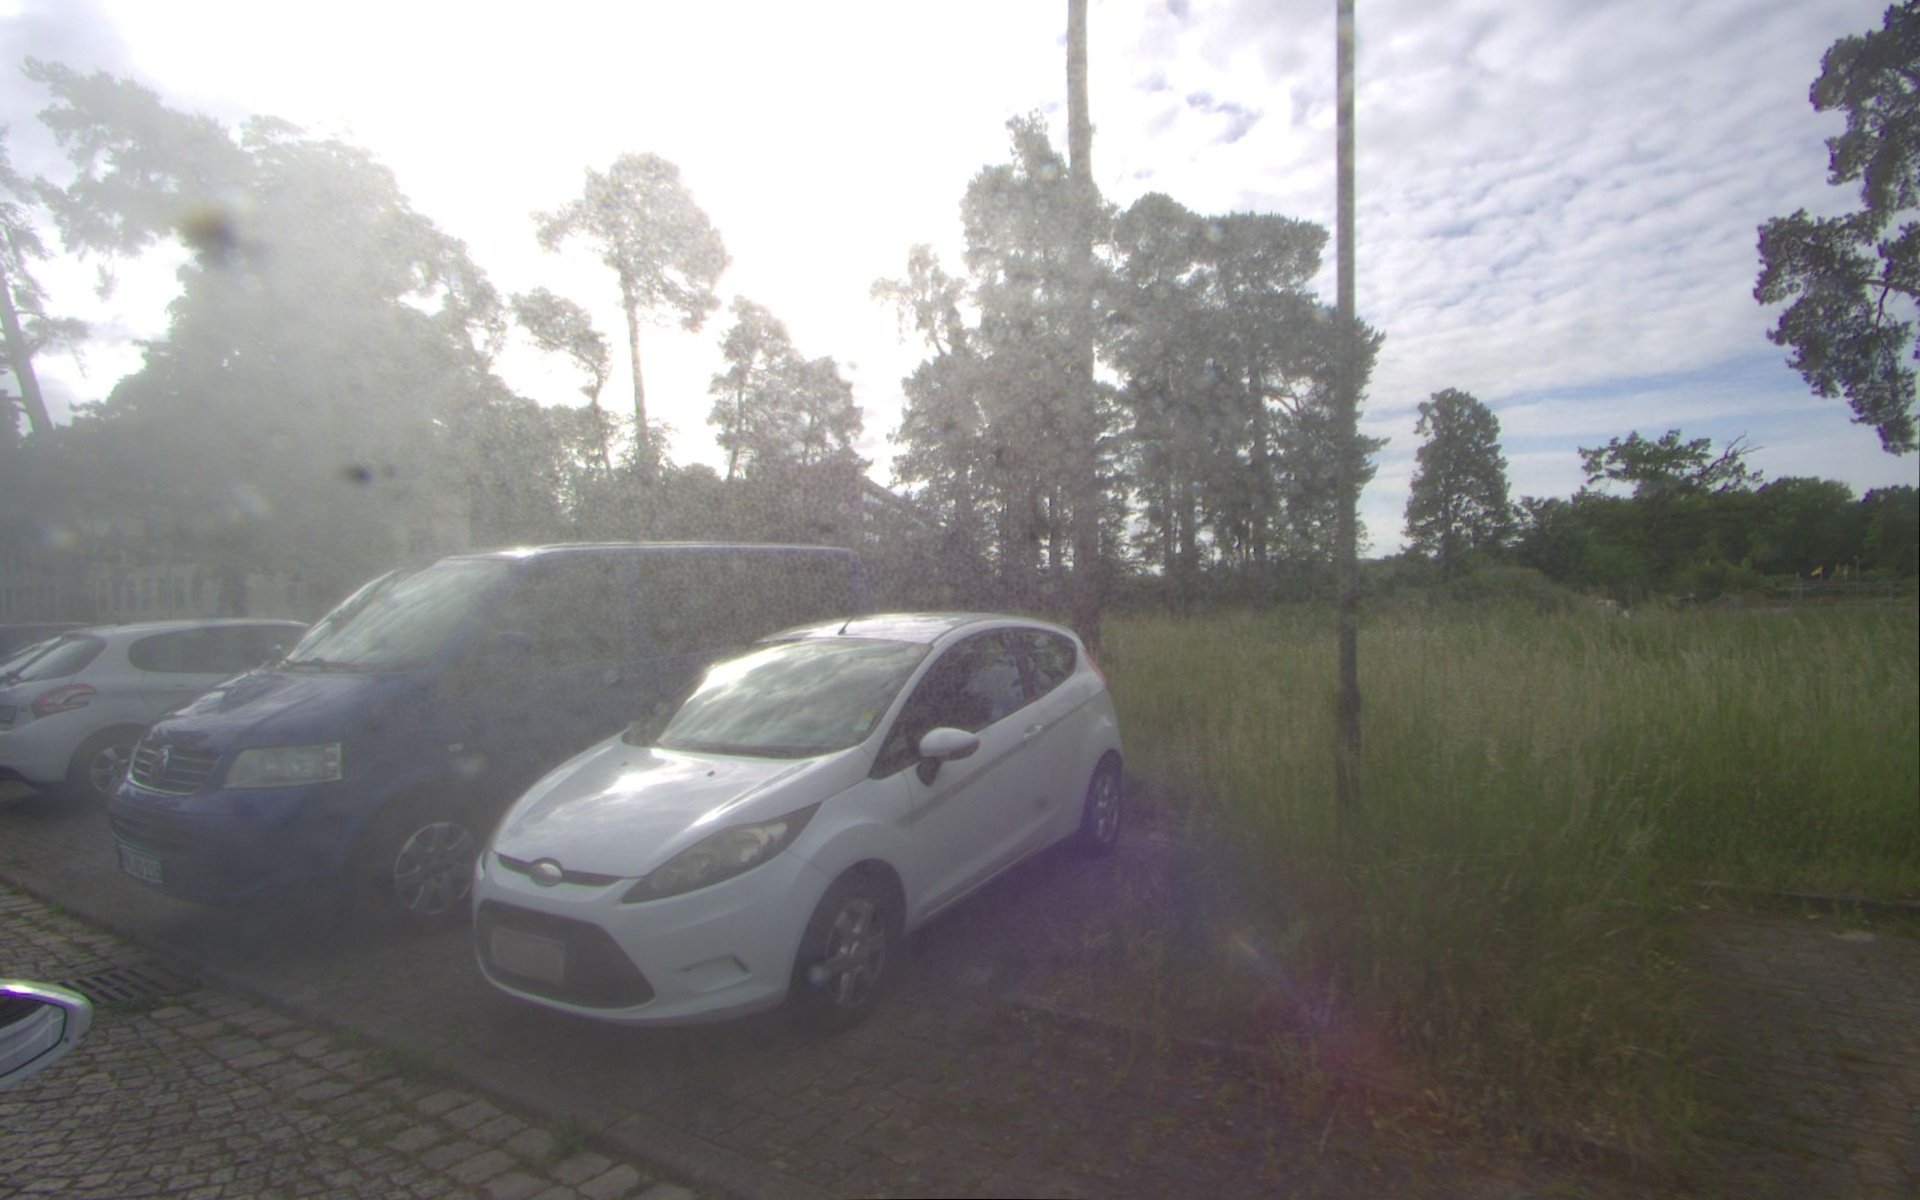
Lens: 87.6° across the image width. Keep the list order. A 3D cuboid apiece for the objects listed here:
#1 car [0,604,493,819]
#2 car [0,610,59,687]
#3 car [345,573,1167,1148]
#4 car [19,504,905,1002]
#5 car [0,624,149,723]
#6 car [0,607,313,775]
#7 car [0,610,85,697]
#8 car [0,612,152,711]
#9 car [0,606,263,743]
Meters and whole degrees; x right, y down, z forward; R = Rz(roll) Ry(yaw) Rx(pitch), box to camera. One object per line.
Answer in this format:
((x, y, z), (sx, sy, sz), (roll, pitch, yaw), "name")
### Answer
((-6.818, 0.862, 9.656), (1.733, 1.492, 3.853), (-1, 2, 32), "car")
((-19.805, 0.997, 18.231), (1.843, 1.436, 4.671), (-1, 2, 31), "car")
((-0.523, 0.726, 4.988), (1.815, 1.493, 3.851), (-1, 4, 32), "car")
((-2.551, 0.544, 6.511), (1.974, 1.972, 4.796), (0, 2, 32), "car")
((-13.928, 1.065, 13.834), (1.733, 1.253, 3.853), (-1, 2, 32), "car")
((-9.461, 0.898, 10.733), (1.731, 1.492, 3.856), (-1, 2, 29), "car")
((-17.709, 0.984, 16.593), (1.840, 1.436, 4.420), (-1, 2, 24), "car")
((-15.641, 1.005, 15.675), (1.844, 1.436, 4.250), (-1, 2, 33), "car")
((-11.501, 0.902, 12.796), (1.733, 1.492, 3.853), (-1, 2, 32), "car")
